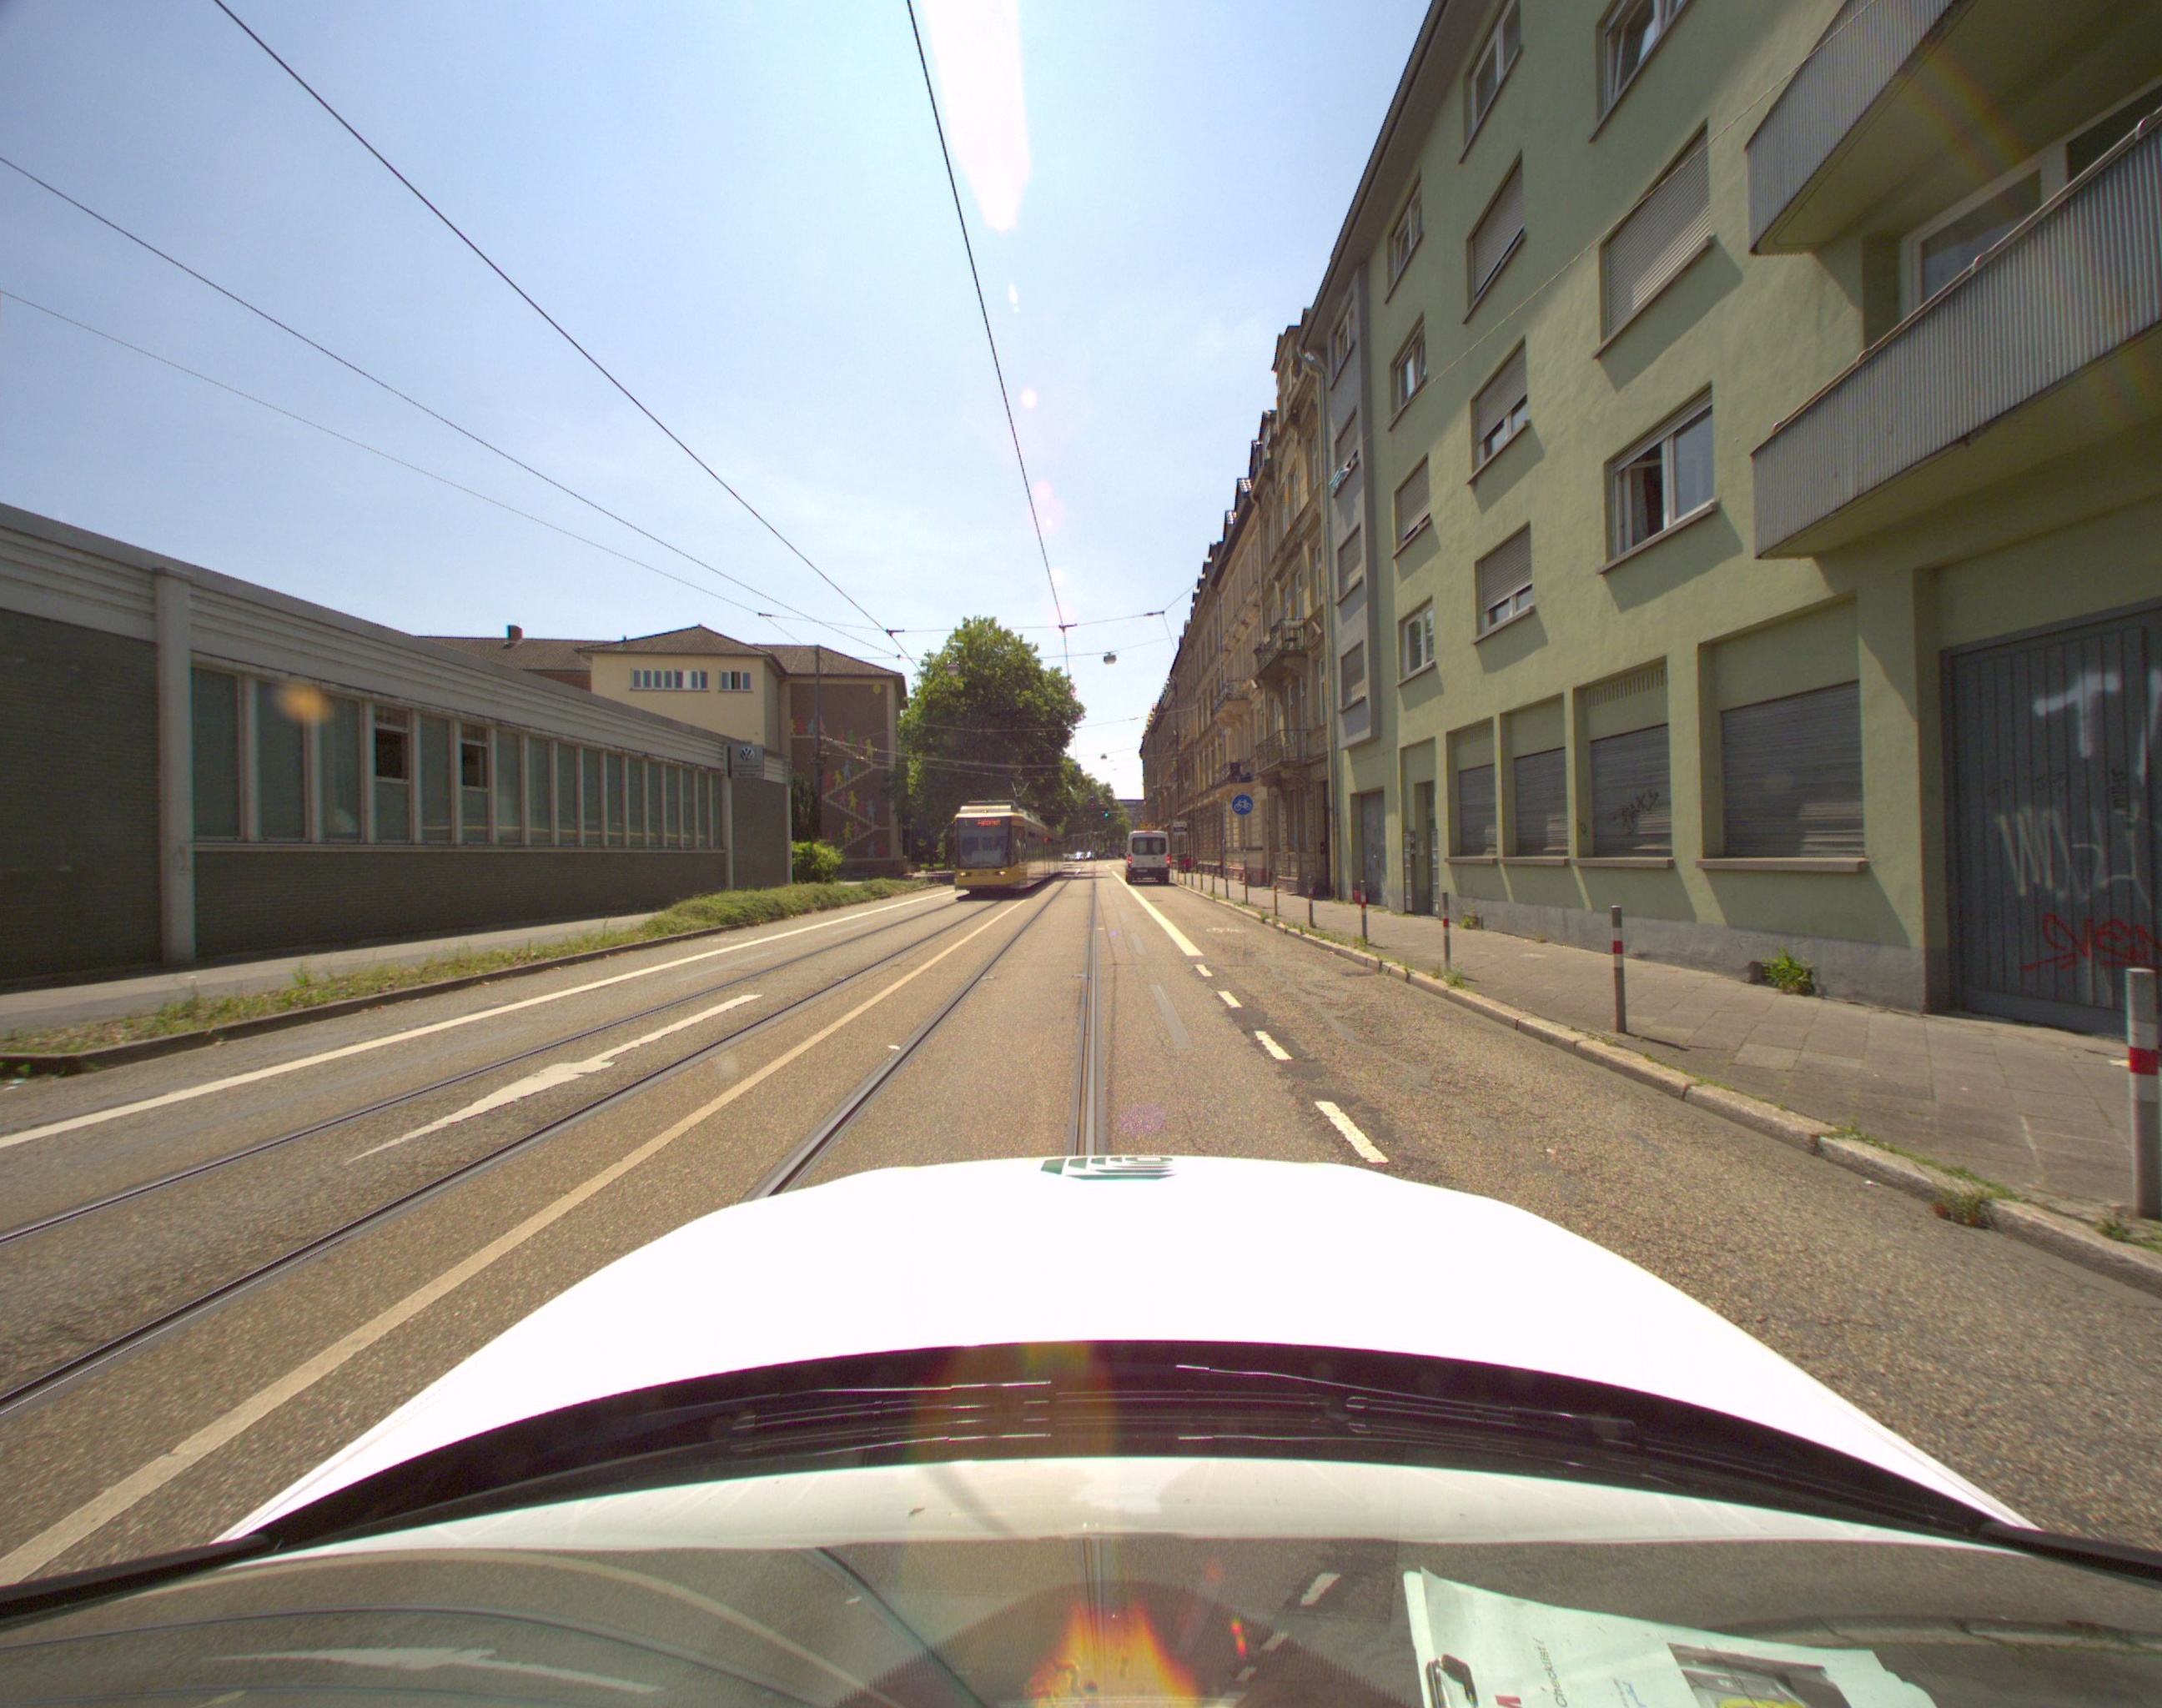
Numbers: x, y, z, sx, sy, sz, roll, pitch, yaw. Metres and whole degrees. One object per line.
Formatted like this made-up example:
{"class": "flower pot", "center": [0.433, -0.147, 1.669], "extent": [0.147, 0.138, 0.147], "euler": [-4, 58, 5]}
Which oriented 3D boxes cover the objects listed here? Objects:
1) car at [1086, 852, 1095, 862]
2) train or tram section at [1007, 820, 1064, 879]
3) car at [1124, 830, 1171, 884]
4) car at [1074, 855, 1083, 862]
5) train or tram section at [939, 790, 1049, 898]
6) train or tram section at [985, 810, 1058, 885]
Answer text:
{"class": "car", "center": [1.786, 0.488, 155.414], "extent": [1.669, 1.860, 3.997], "euler": [0, 0, -2]}
{"class": "train or tram section", "center": [-2.947, -0.285, 56.621], "extent": [2.950, 3.580, 13.424], "euler": [-1, 0, 1]}
{"class": "car", "center": [3.225, 0.153, 40.370], "extent": [2.059, 2.501, 5.457], "euler": [0, 0, 2]}
{"class": "car", "center": [-0.467, 0.812, 148.118], "extent": [1.524, 1.408, 3.488], "euler": [0, 0, -1]}
{"class": "train or tram section", "center": [-3.201, -0.351, 34.197], "extent": [2.950, 3.580, 13.424], "euler": [-1, 0, 1]}
{"class": "train or tram section", "center": [-3.065, -0.315, 46.374], "extent": [2.950, 3.580, 13.424], "euler": [-1, 0, 1]}
